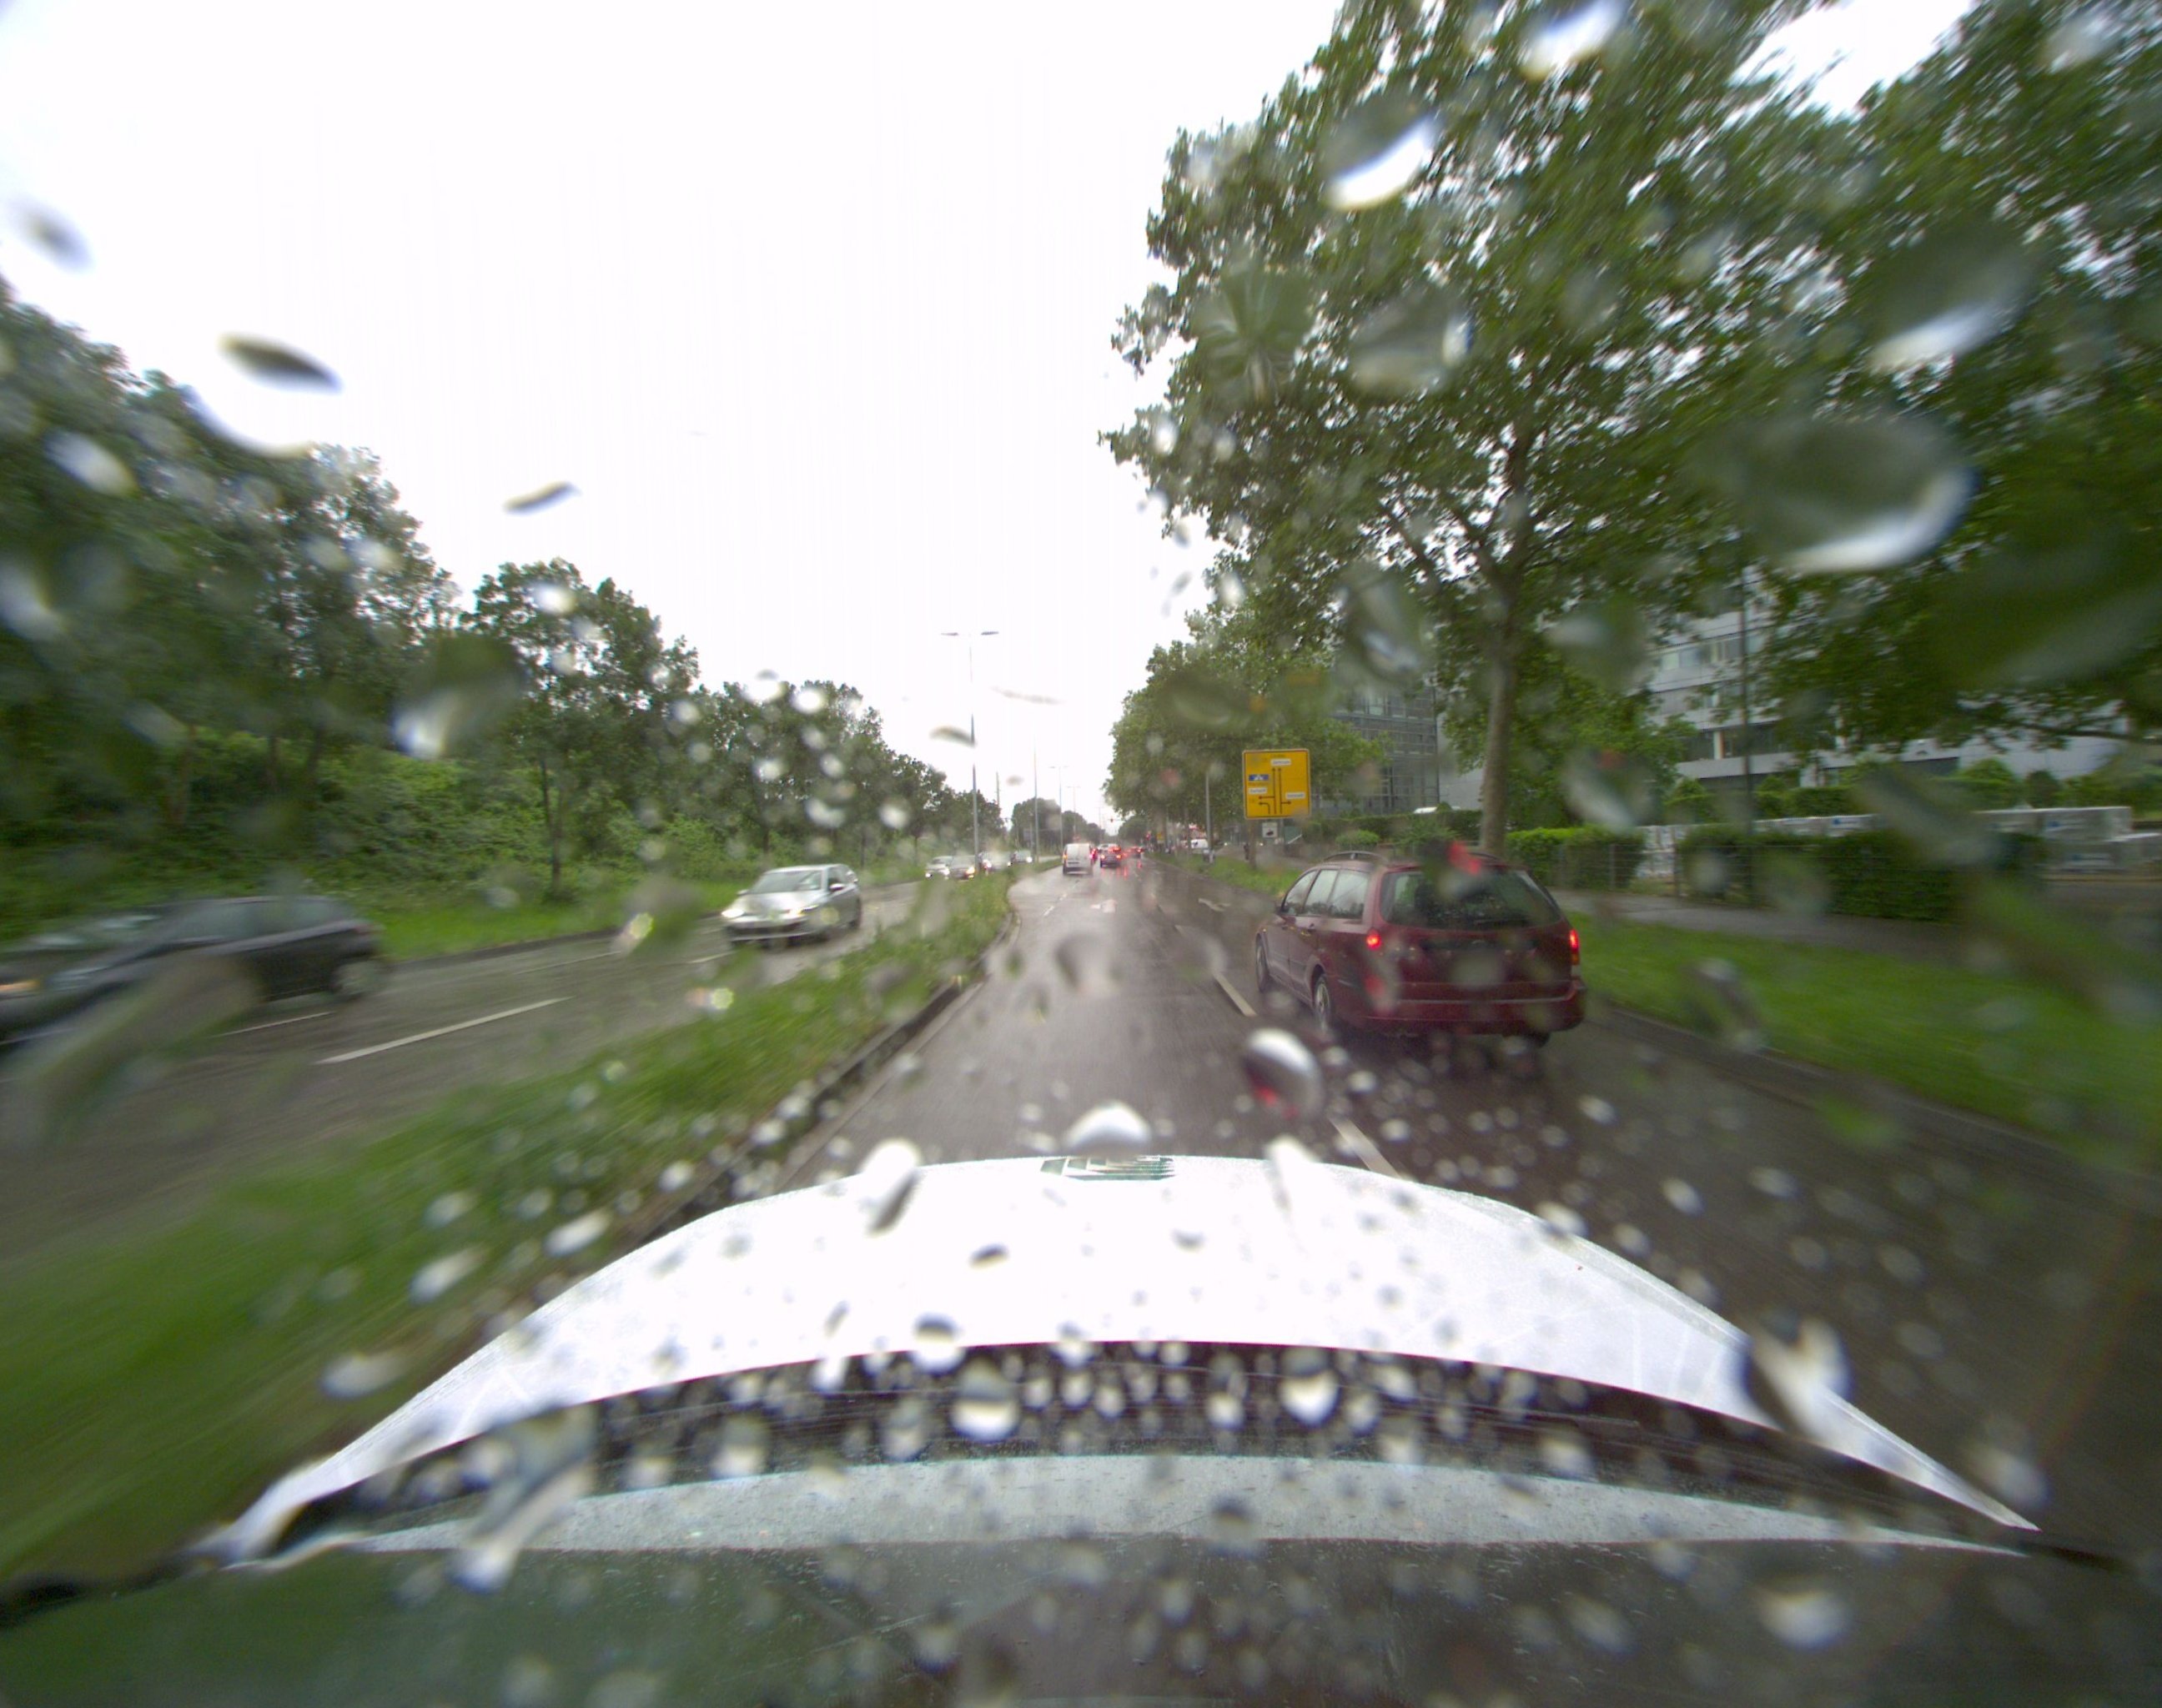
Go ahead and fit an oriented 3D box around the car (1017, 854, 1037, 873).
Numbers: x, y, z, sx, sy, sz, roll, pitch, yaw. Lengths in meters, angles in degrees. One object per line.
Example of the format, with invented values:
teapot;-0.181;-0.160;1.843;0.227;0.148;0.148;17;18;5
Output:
car;-4.960;0.823;75.320;1.716;1.618;4.342;-2;0;-2

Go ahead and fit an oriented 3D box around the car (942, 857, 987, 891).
car;-6.230;1.053;43.997;1.905;1.574;4.702;-4;0;-4

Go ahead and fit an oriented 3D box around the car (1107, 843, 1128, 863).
car;3.189;-0.110;71.386;1.702;1.549;4.001;-1;1;1

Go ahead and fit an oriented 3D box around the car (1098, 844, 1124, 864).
car;2.356;-0.005;64.978;1.987;1.452;4.000;-1;0;1

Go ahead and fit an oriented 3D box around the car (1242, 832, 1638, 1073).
car;2.733;0.632;7.340;1.832;1.536;4.113;-1;0;1

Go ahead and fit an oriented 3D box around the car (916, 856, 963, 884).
car;-9.135;0.999;52.791;1.901;1.574;4.712;-5;0;2

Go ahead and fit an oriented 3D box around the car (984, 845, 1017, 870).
car;-5.741;0.239;58.558;1.817;1.574;4.362;-1;2;2

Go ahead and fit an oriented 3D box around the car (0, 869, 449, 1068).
car;-10.644;1.158;9.916;1.986;1.687;4.712;-3;0;2

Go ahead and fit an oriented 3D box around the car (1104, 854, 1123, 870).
car;3.183;0.777;79.281;1.705;1.445;4.003;-1;1;2

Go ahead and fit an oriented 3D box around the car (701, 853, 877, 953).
car;-5.600;0.838;16.325;1.904;1.574;4.704;-4;0;-3

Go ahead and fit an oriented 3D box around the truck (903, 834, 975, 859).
truck;-20.655;-1.040;119.061;10.183;3.452;2.630;0;-1;-35

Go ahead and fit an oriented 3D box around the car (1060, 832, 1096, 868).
car;-0.144;-0.201;48.252;1.987;2.014;4.000;-1;-1;1

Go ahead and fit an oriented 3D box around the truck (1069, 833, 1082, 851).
truck;-0.816;-1.752;117.137;1.750;2.466;4.001;-1;0;1
